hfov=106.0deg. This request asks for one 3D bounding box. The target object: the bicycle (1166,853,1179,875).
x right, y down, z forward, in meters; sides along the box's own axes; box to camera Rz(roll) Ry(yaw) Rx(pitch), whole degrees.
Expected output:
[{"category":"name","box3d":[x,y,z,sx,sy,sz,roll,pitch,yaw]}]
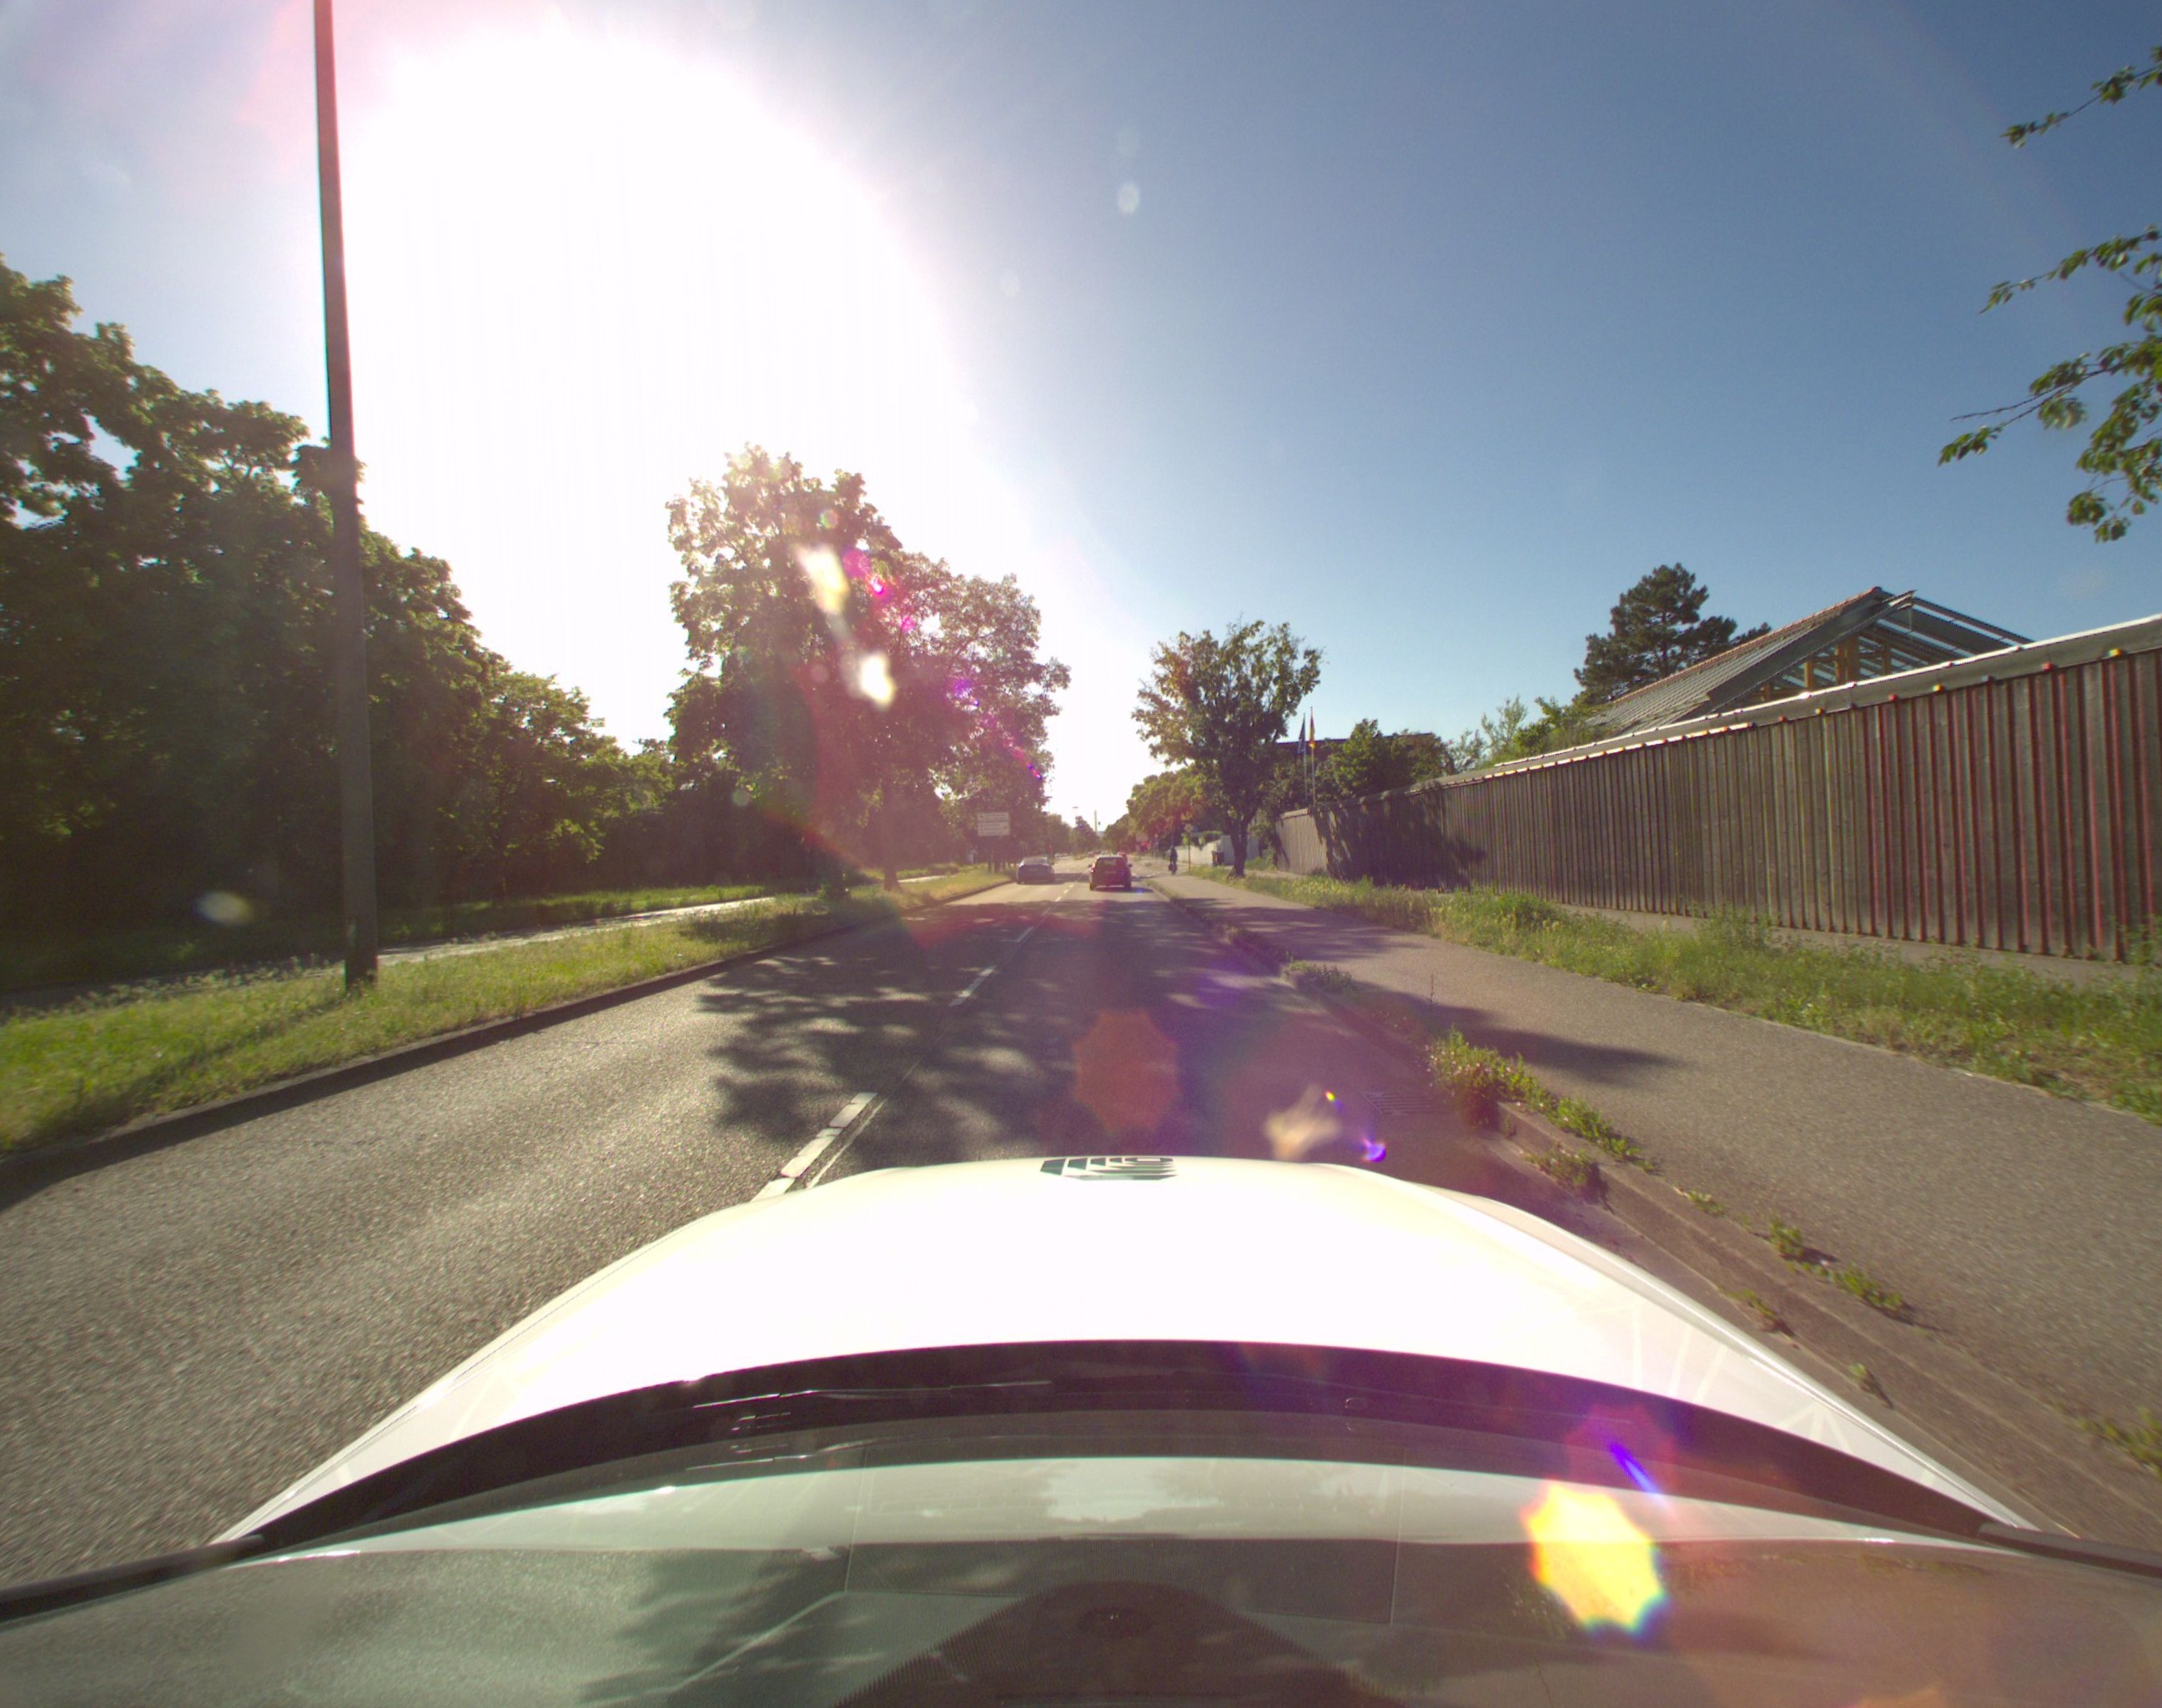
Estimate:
[{"category":"bicycle","box3d":[5.195,0.553,46.257,0.571,1.155,2.144,-5,0,5]}]

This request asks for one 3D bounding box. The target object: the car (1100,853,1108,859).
[{"category":"car","box3d":[5.343,0.479,190.089,1.726,1.585,3.841,0,0,1]}]

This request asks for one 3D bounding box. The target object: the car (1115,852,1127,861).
[{"category":"car","box3d":[6.458,0.396,130.382,1.724,1.459,3.845,-2,0,5]}]

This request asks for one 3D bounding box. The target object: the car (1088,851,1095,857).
[{"category":"car","box3d":[2.879,0.057,217.931,1.818,1.615,3.840,0,1,0]}]

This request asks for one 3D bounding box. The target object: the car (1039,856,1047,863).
[{"category":"car","box3d":[-9.956,1.520,214.342,1.905,1.703,4.409,0,-1,2]}]

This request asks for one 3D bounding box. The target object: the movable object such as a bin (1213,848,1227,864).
[{"category":"movable object such as a bin","box3d":[11.113,0.155,65.073,0.996,1.205,1.065,-4,-1,9]}]

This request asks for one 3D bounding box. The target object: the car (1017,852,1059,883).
[{"category":"car","box3d":[-2.285,0.710,44.496,1.881,1.552,4.001,-2,0,2]}]

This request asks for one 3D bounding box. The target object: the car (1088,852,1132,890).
[{"category":"car","box3d":[1.245,0.691,35.208,1.749,1.509,3.810,-1,0,1]}]

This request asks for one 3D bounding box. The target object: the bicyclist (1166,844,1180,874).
[{"category":"bicyclist","box3d":[5.204,0.290,46.227,0.627,1.632,0.983,-5,0,5]}]
